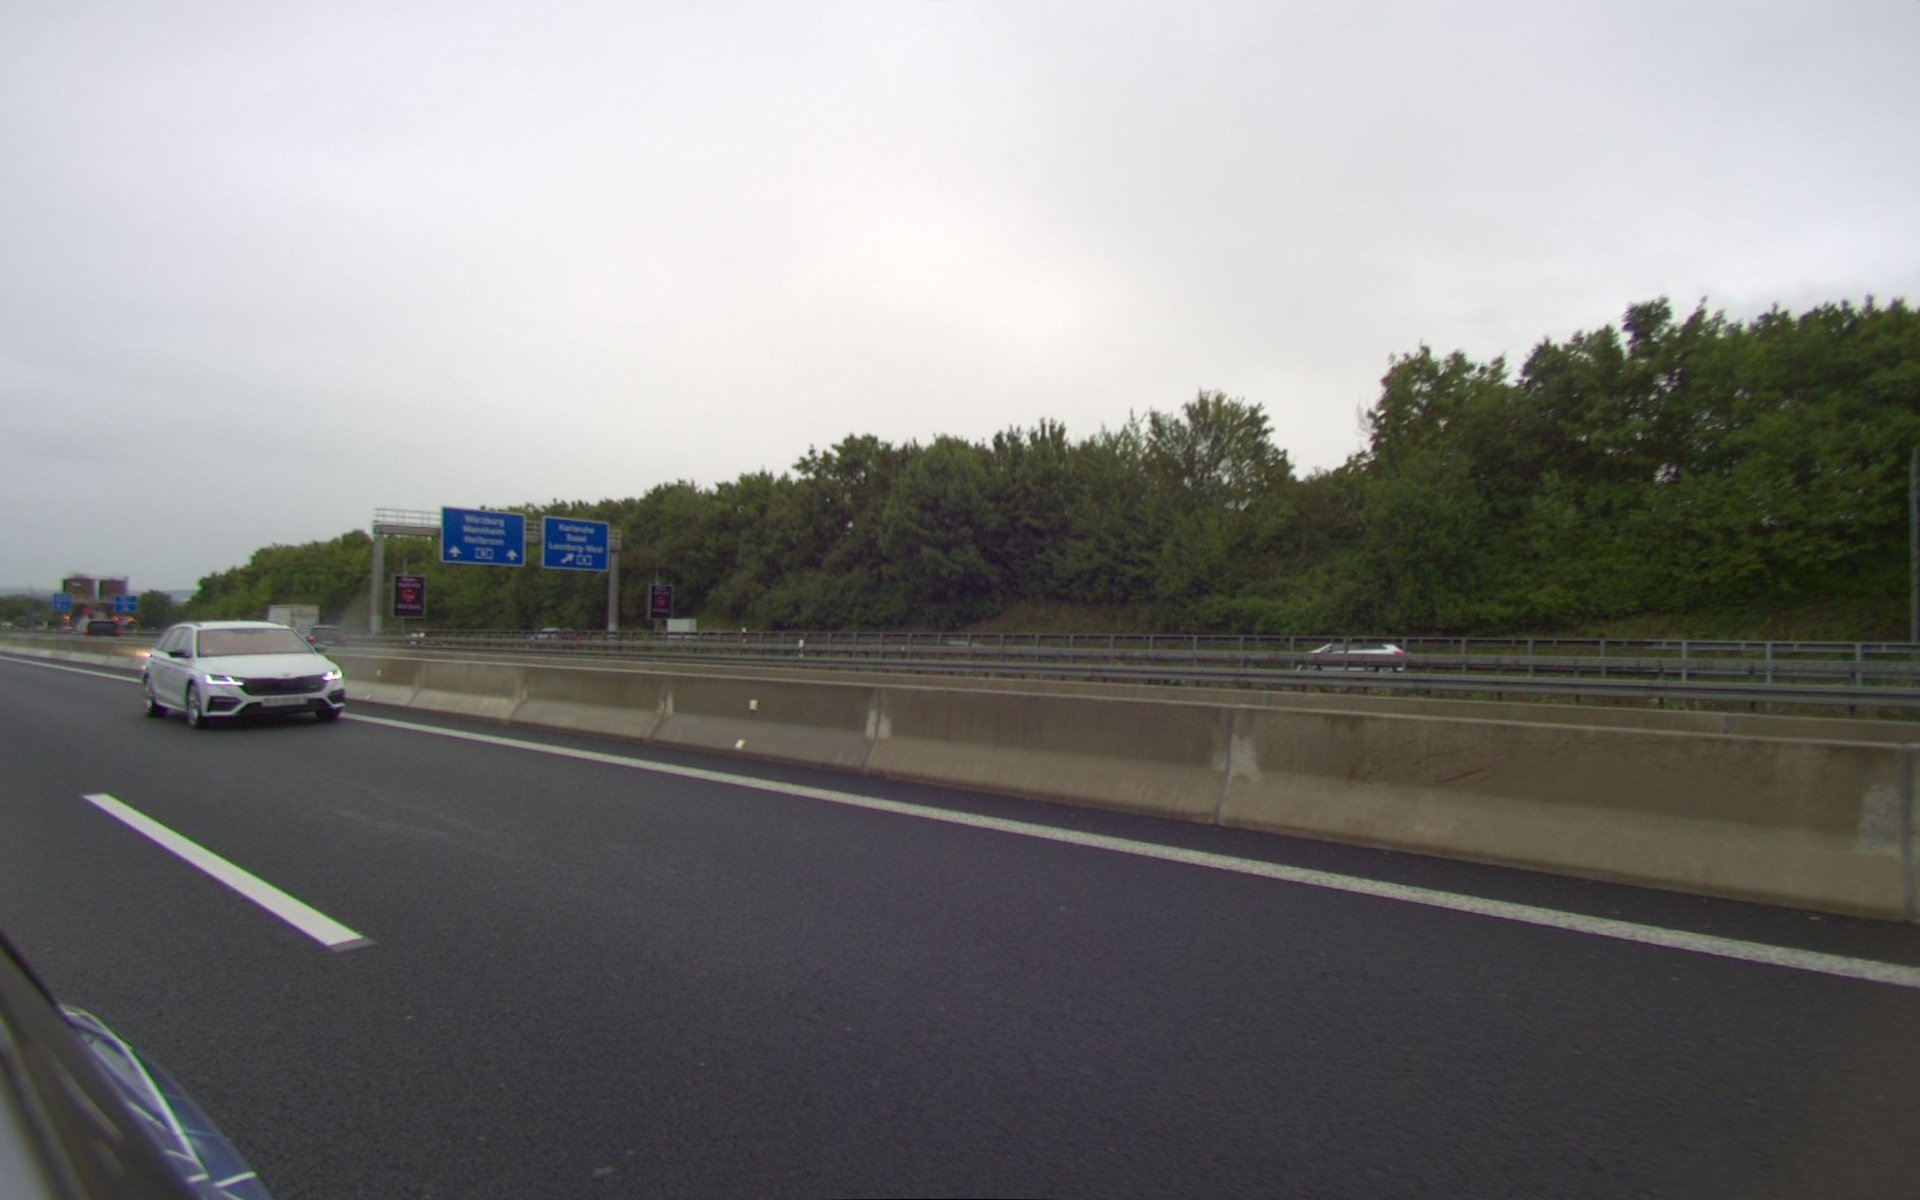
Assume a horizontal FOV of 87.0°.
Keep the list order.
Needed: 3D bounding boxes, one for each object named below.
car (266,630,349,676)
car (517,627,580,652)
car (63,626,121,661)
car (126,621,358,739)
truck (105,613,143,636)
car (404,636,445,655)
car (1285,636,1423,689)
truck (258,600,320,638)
[{"bbox_3d":[-30.824,2.446,47.770,4.979,2.029,1.973,-1,-1,41],"label":"car"},{"bbox_3d":[-26.144,2.469,64.263,4.471,1.504,1.800,-1,-1,40],"label":"car"},{"bbox_3d":[-52.933,2.617,61.693,4.979,2.029,1.973,-1,-1,41],"label":"car"},{"bbox_3d":[-10.903,1.073,15.228,4.775,1.467,1.799,-1,-1,41],"label":"car"},{"bbox_3d":[-121.714,3.513,147.324,9.074,3.245,2.821,-1,-1,41],"label":"truck"},{"bbox_3d":[-45.041,3.797,85.087,3.998,1.467,1.658,-1,-1,41],"label":"car"},{"bbox_3d":[13.455,2.086,34.672,4.055,1.644,1.800,-1,-1,39],"label":"car"},{"bbox_3d":[-71.004,1.990,107.044,9.630,3.908,3.042,-1,-1,41],"label":"truck"}]
